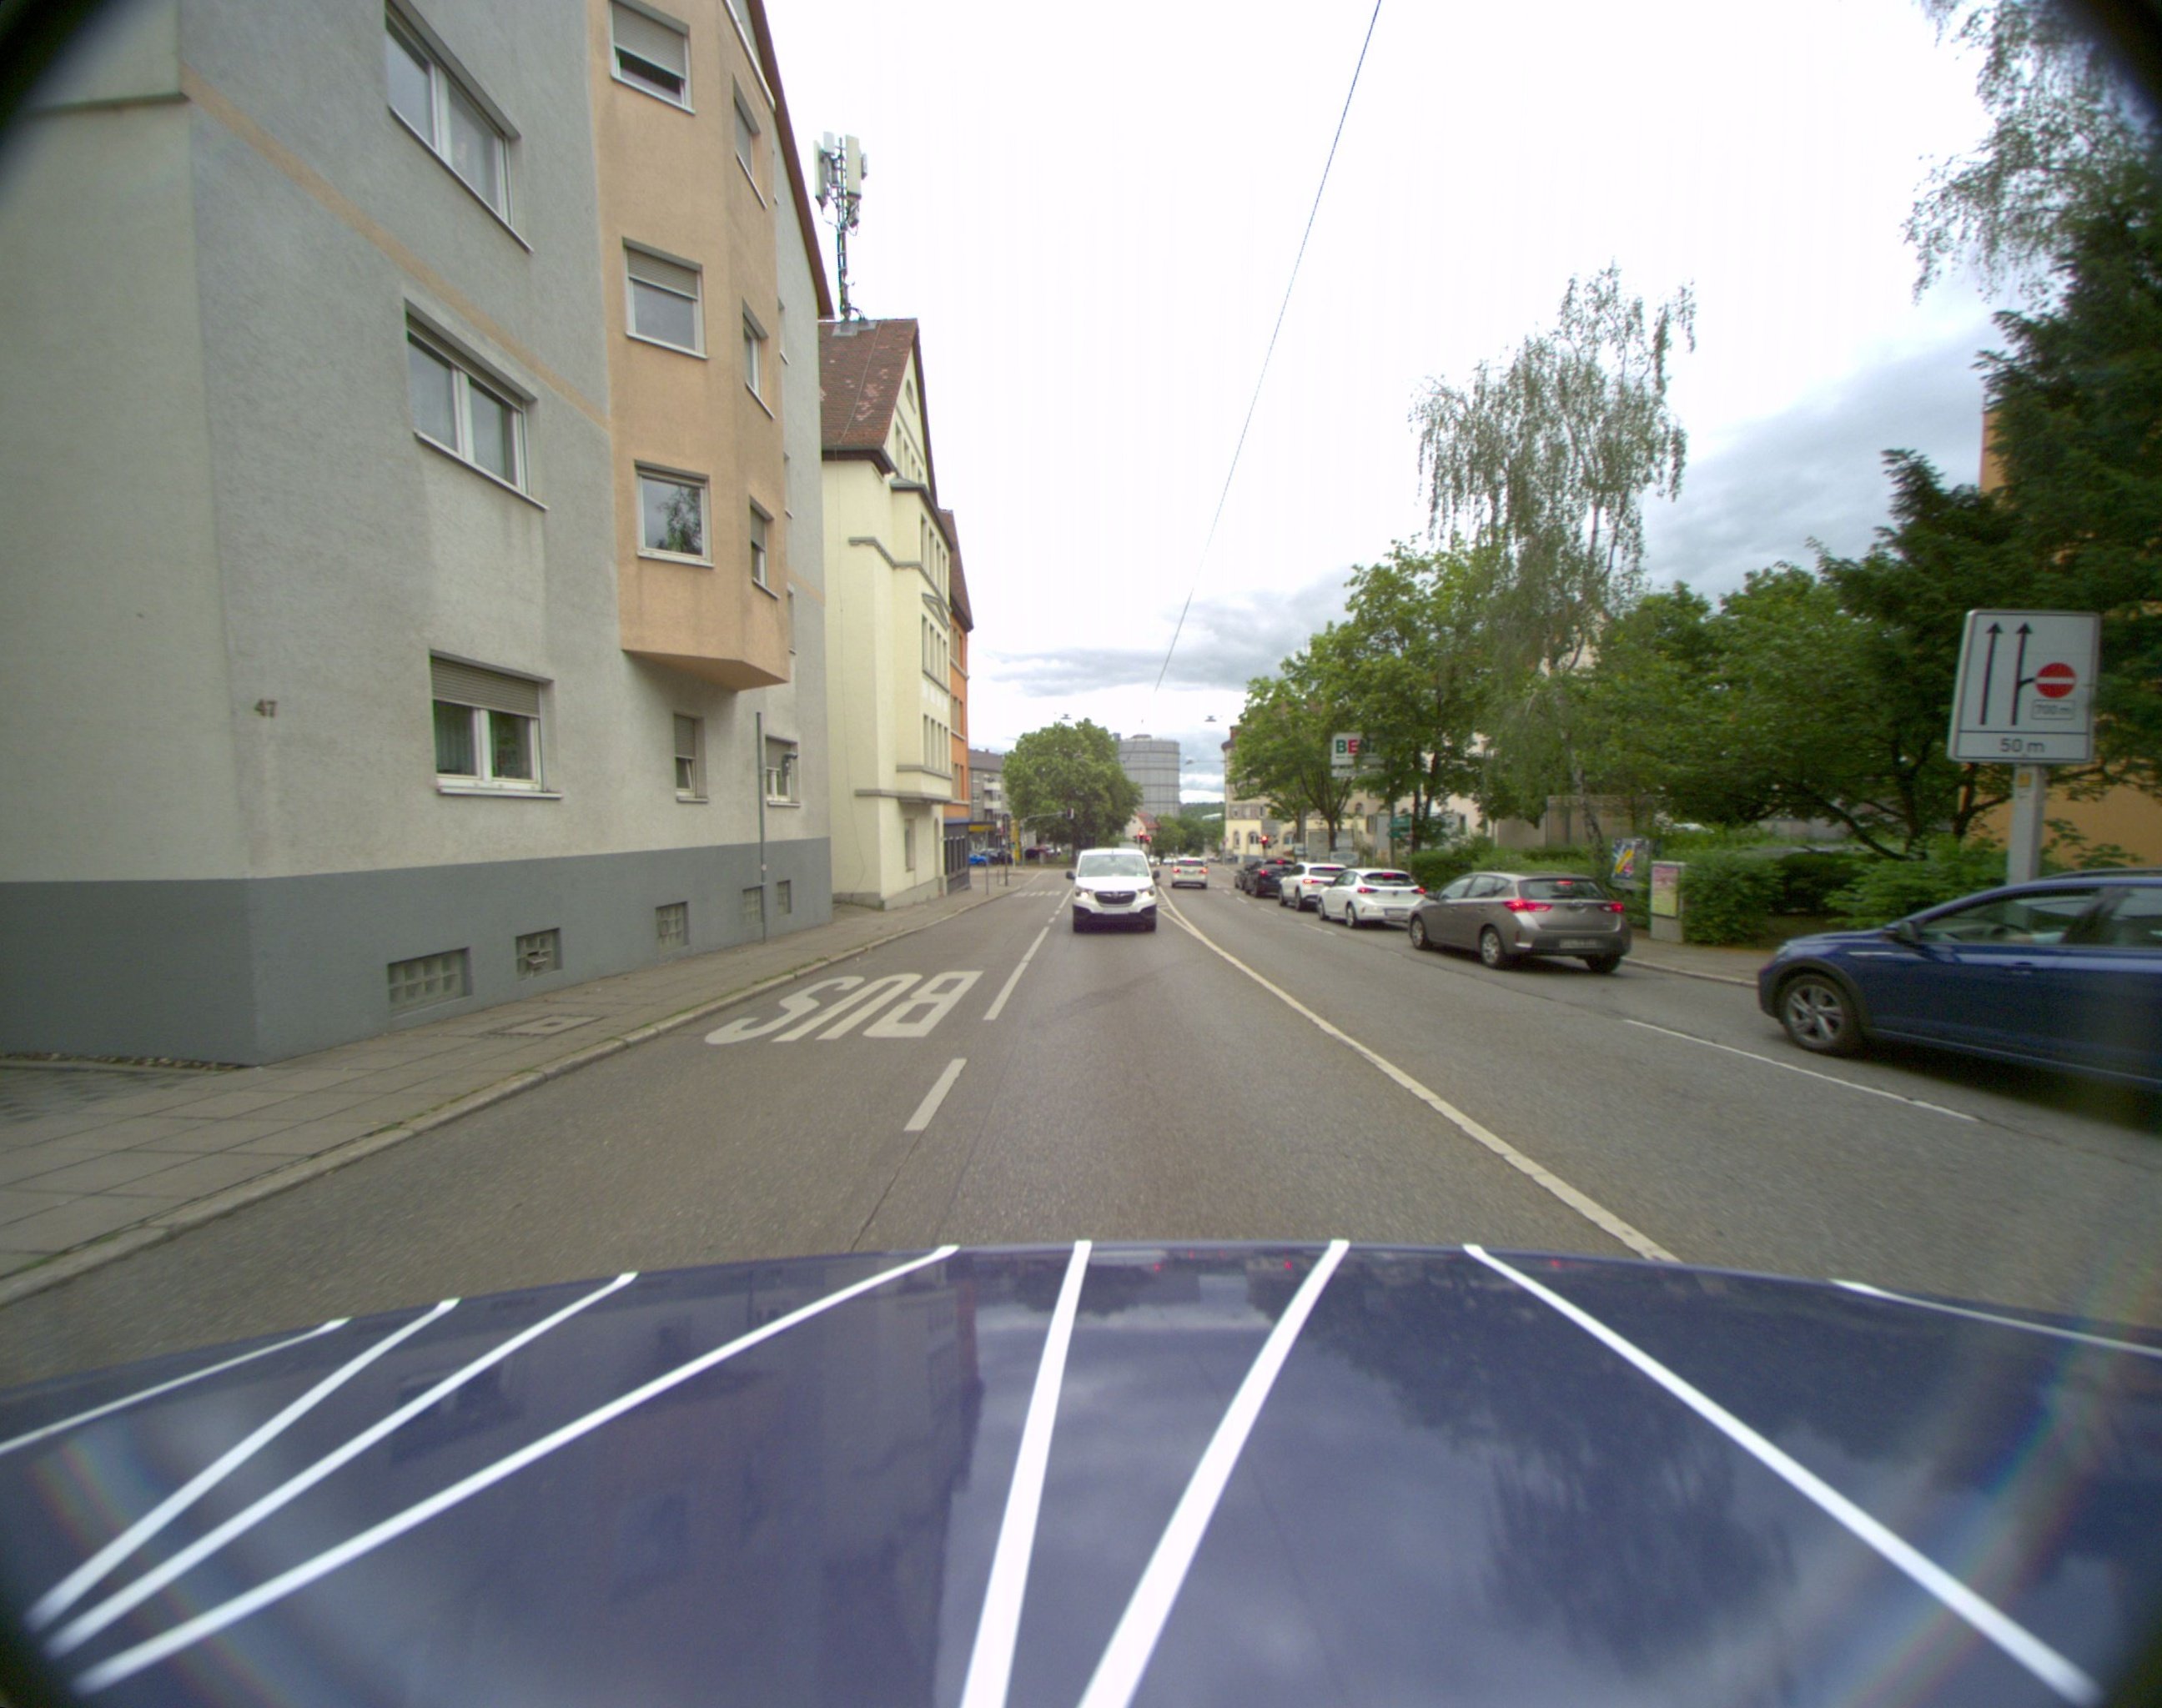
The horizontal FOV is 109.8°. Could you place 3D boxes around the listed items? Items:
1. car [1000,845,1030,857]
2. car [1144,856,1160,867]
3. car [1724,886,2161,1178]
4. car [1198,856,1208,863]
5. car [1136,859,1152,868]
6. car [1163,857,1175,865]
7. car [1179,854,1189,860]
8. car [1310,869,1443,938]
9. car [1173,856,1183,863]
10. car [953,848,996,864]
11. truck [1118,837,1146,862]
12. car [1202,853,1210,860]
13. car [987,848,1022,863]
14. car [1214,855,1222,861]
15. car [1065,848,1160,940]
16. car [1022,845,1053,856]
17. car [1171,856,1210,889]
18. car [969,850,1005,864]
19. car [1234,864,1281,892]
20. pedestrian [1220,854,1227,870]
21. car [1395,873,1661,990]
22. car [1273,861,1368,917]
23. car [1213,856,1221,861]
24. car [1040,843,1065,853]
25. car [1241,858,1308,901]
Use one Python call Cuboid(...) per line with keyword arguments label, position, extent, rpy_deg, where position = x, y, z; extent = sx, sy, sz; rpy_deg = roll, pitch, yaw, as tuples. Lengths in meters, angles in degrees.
Cuboid(label="car", position=(-8.714, -0.405, 100.573), extent=(3.616, 1.544, 1.617), rpy_deg=(0, 1, -27))
Cuboid(label="car", position=(11.939, 1.234, 128.017), extent=(1.996, 1.620, 4.413), rpy_deg=(-2, 0, 13))
Cuboid(label="car", position=(6.707, 1.023, 4.697), extent=(1.843, 1.439, 4.311), rpy_deg=(1, 0, 1))
Cuboid(label="car", position=(26.995, 1.309, 167.941), extent=(1.757, 1.439, 3.755), rpy_deg=(-1, 0, 14))
Cuboid(label="car", position=(9.979, 1.465, 120.027), extent=(1.916, 1.291, 4.413), rpy_deg=(-2, 0, 13))
Cuboid(label="car", position=(18.463, 1.419, 159.572), extent=(1.996, 1.590, 4.004), rpy_deg=(-2, 0, 13))
Cuboid(label="car", position=(26.228, 0.706, 193.922), extent=(1.996, 1.590, 4.004), rpy_deg=(-2, 0, 13))
Cuboid(label="car", position=(7.292, 1.163, 19.214), extent=(1.843, 1.404, 4.074), rpy_deg=(2, 0, 2))
Cuboid(label="car", position=(22.075, 1.303, 172.835), extent=(1.996, 1.590, 4.004), rpy_deg=(-2, 0, 13))
Cuboid(label="car", position=(-11.252, 0.258, 80.606), extent=(4.255, 1.568, 1.830), rpy_deg=(1, 0, 2))
Cuboid(label="truck", position=(7.547, -0.611, 111.469), extent=(2.769, 3.481, 8.177), rpy_deg=(-2, 0, 12))
Cuboid(label="car", position=(32.100, 0.643, 195.475), extent=(1.868, 1.873, 4.289), rpy_deg=(2, 0, 11))
Cuboid(label="car", position=(-9.082, 0.218, 90.667), extent=(1.823, 1.599, 4.179), rpy_deg=(7, 3, 34))
Cuboid(label="car", position=(39.717, 1.079, 219.929), extent=(1.996, 1.590, 4.004), rpy_deg=(-2, 0, 13))
Cuboid(label="car", position=(0.715, 0.816, 17.645), extent=(1.888, 1.827, 4.677), rpy_deg=(-1, 0, 2))
Cuboid(label="car", position=(-6.216, -0.488, 108.518), extent=(4.007, 1.496, 1.858), rpy_deg=(0, 1, -36))
Cuboid(label="car", position=(5.640, 0.927, 39.576), extent=(1.779, 1.538, 4.327), rpy_deg=(2, 0, 5))
Cuboid(label="car", position=(-10.498, 0.324, 85.031), extent=(1.824, 1.468, 4.009), rpy_deg=(1, 0, 35))
Cuboid(label="car", position=(9.037, 1.191, 39.192), extent=(1.805, 1.274, 4.238), rpy_deg=(2, 0, 6))
Cuboid(label="pedestrian", position=(18.289, 1.011, 97.712), extent=(0.746, 1.925, 0.904), rpy_deg=(-3, 0, 11))
Cuboid(label="car", position=(6.898, 1.093, 12.371), extent=(1.843, 1.439, 4.311), rpy_deg=(1, 0, 1))
Cuboid(label="car", position=(7.906, 1.097, 25.524), extent=(1.956, 1.584, 4.499), rpy_deg=(2, 0, 3))
Cuboid(label="car", position=(41.383, 1.343, 230.934), extent=(1.996, 1.590, 4.004), rpy_deg=(-2, 0, 13))
Cuboid(label="car", position=(-4.373, -0.963, 117.782), extent=(3.625, 1.496, 1.787), rpy_deg=(-1, 1, -41))
Cuboid(label="car", position=(8.247, 1.046, 32.777), extent=(1.955, 1.633, 4.415), rpy_deg=(2, 0, 4))
